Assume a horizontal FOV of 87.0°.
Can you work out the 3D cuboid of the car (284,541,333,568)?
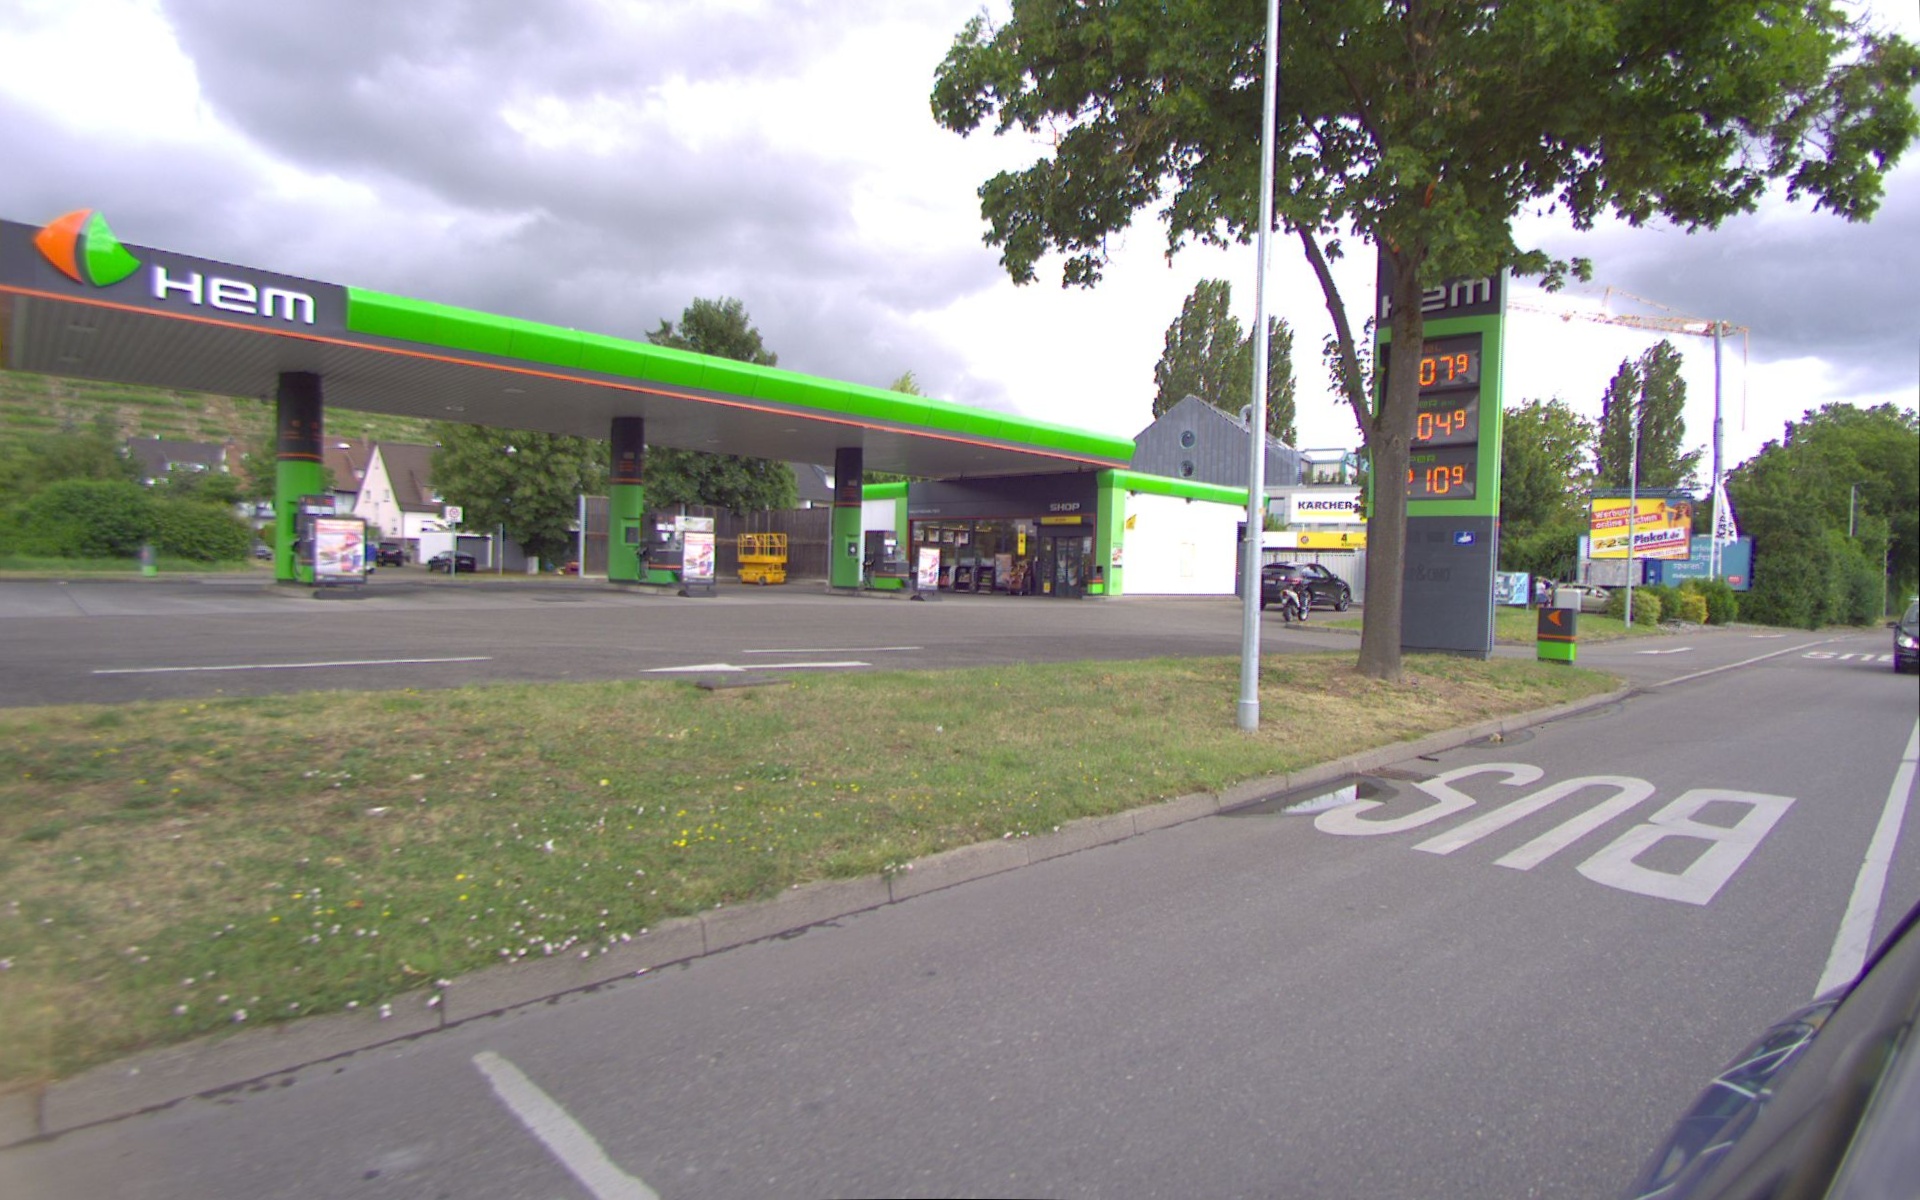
[{"bbox_3d":[-37.297,-2.576,57.930,1.642,1.422,3.868,0,0,-44],"label":"car"}]

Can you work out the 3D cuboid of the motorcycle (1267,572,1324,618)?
[{"bbox_3d":[9.459,-0.151,28.467,0.701,1.201,2.355,3,2,39],"label":"motorcycle"}]

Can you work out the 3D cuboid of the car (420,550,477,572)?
[{"bbox_3d":[-31.573,-2.400,62.403,3.985,1.234,1.816,4,2,41],"label":"car"}]

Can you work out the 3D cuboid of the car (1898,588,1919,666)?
[{"bbox_3d":[21.821,0.562,22.209,1.781,1.644,3.937,0,0,43],"label":"car"}]

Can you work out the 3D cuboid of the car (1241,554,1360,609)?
[{"bbox_3d":[11.581,-0.628,34.305,4.255,1.658,1.997,0,5,-44],"label":"car"}]

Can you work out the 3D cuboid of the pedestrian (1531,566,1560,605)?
[{"bbox_3d":[26.482,-0.650,45.787,1.031,1.719,1.067,0,0,26],"label":"pedestrian"}]

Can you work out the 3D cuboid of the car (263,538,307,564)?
[{"bbox_3d":[-41.394,-2.960,62.036,1.642,1.422,3.868,0,0,-44],"label":"car"}]

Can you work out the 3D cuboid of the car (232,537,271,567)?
[{"bbox_3d":[-49.112,-3.263,70.087,1.642,1.898,3.868,0,0,-44],"label":"car"}]

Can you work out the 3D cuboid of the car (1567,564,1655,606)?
[{"bbox_3d":[28.866,-0.653,44.869,3.224,1.815,1.526,0,0,35],"label":"car"}]

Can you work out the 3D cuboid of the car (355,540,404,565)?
[{"bbox_3d":[-40.317,-3.293,70.246,3.989,1.556,1.968,4,3,44],"label":"car"}]
